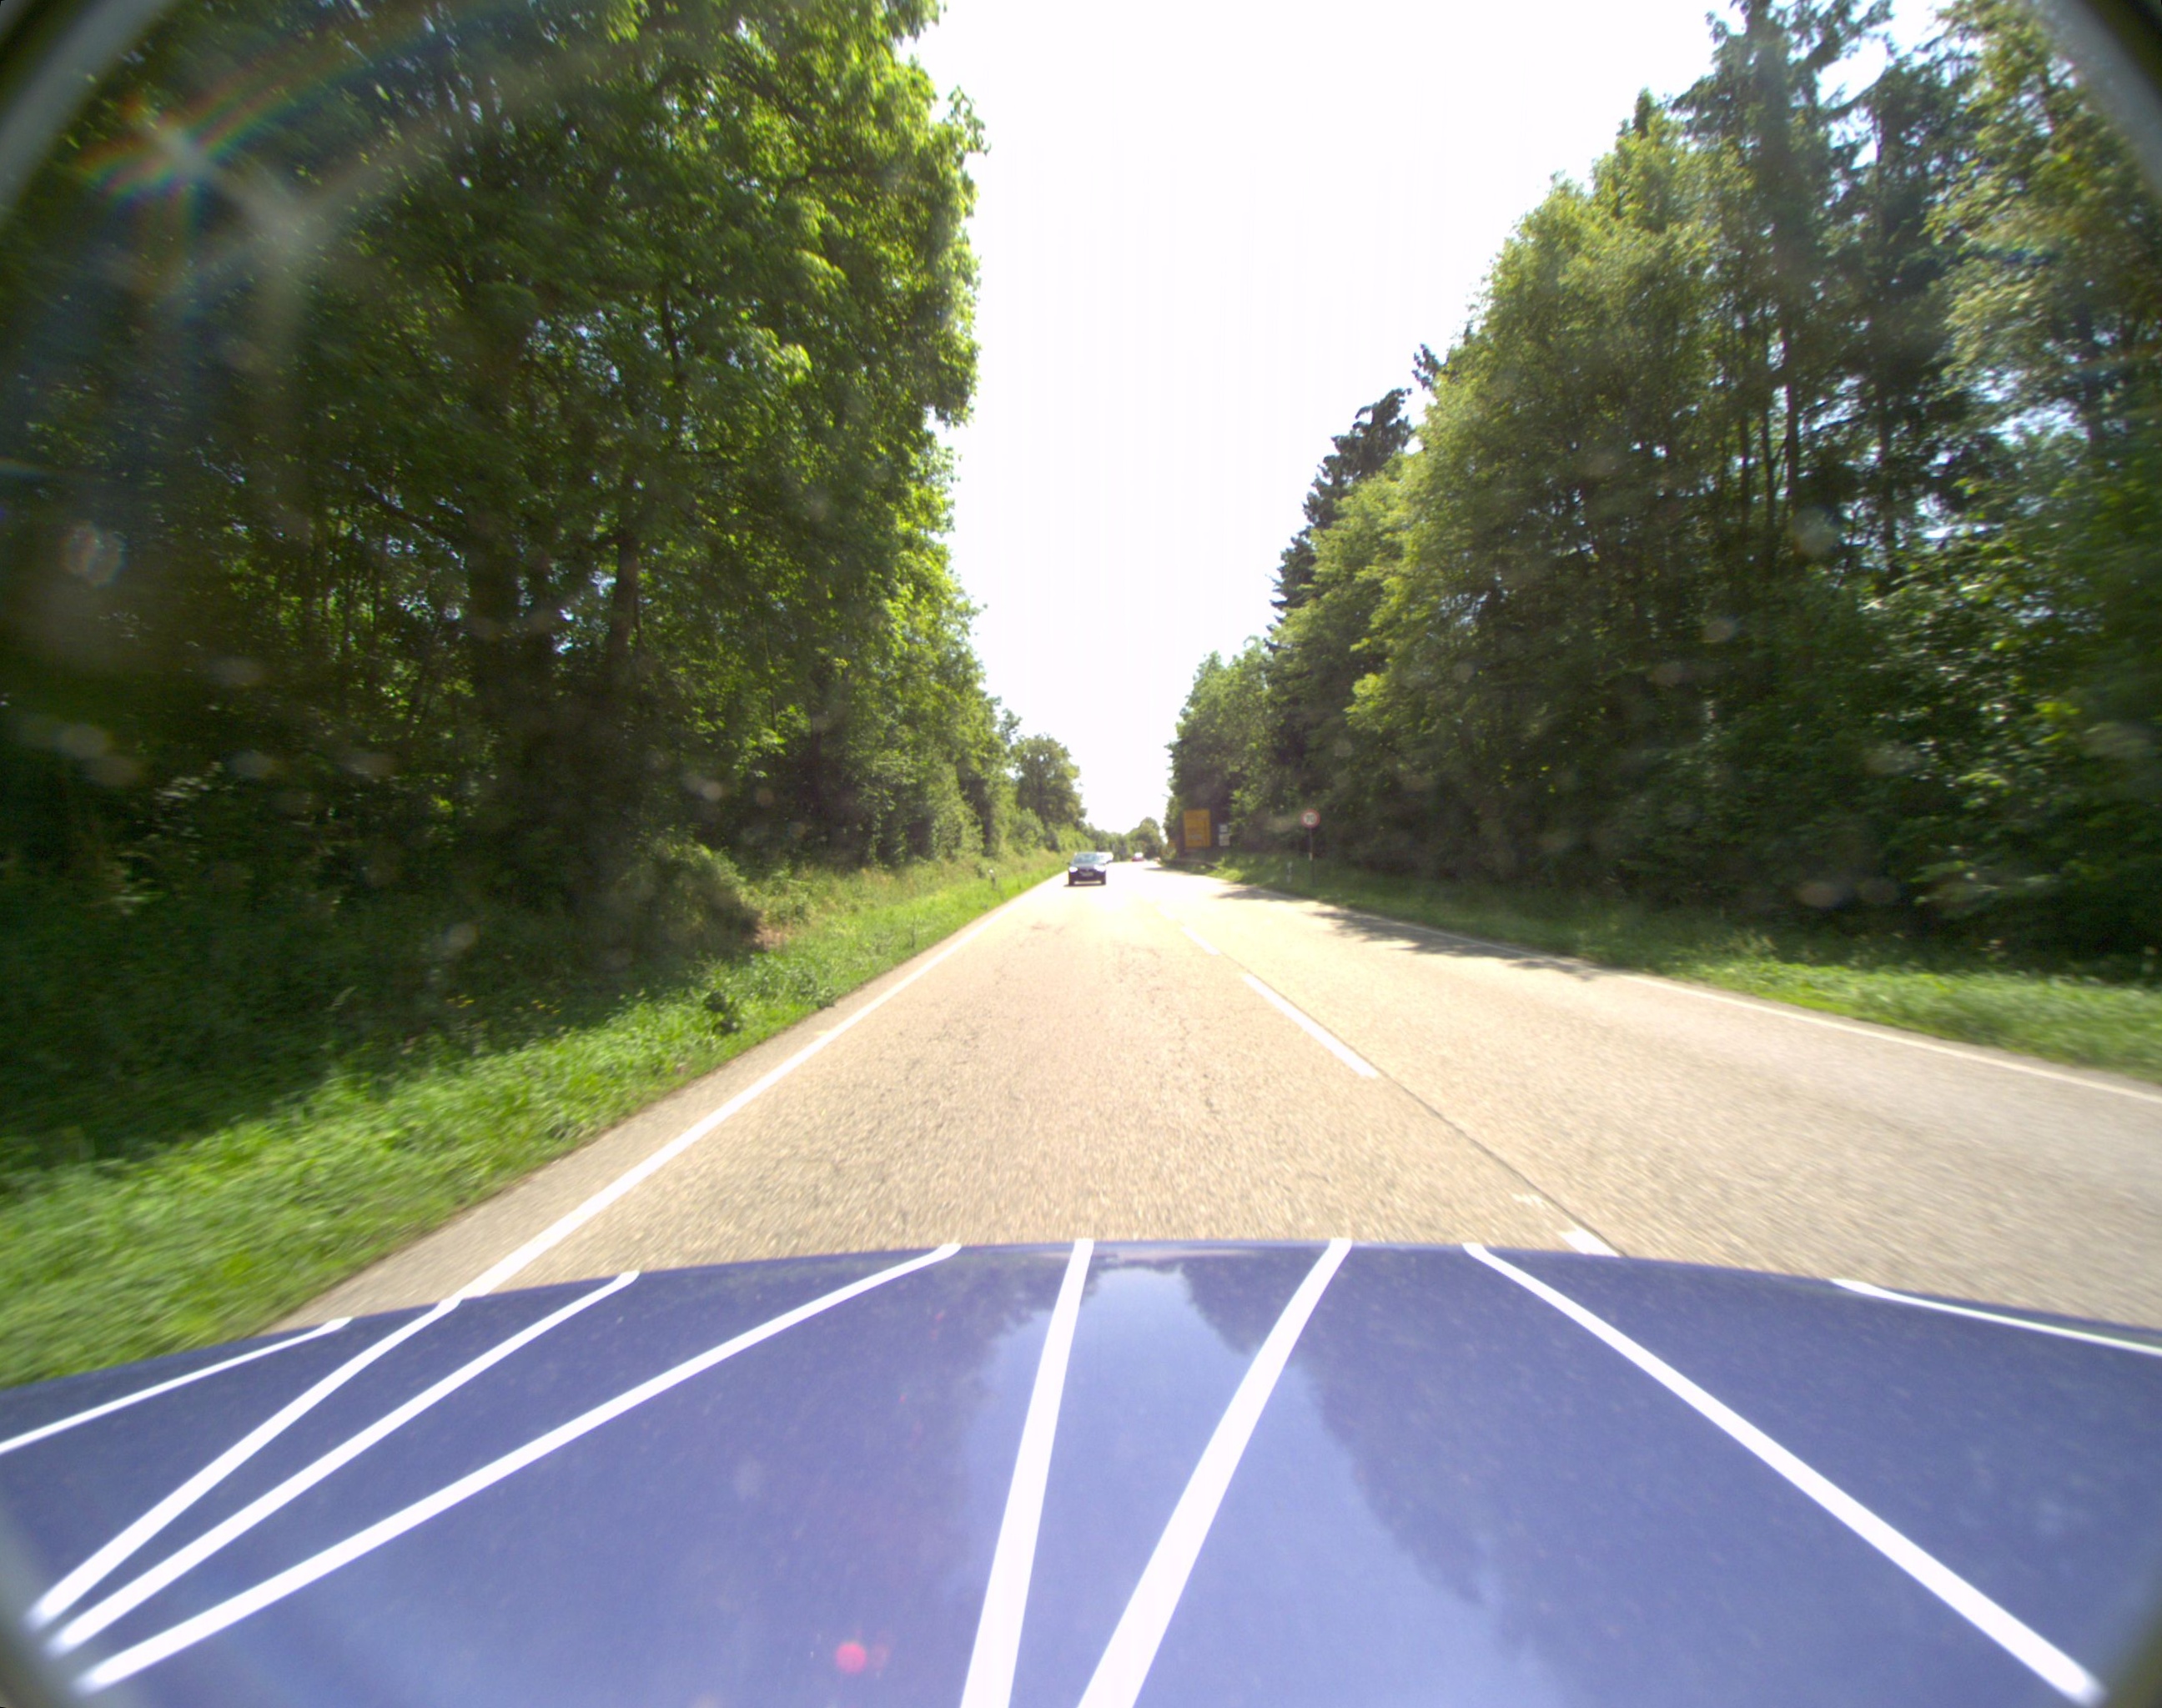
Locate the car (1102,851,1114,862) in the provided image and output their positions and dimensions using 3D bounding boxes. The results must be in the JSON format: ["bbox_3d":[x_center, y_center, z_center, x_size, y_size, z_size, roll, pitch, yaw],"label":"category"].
[{"bbox_3d":[5.017,0.468,140.374,1.998,2.001,4.002,-4,-1,4],"label":"car"}]

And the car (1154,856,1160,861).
[{"bbox_3d":[22.491,1.218,225.337,1.810,1.427,3.873,-1,0,5],"label":"car"}]

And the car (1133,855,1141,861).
[{"bbox_3d":[14.159,0.911,192.712,1.808,1.444,4.389,-2,-1,7],"label":"car"}]

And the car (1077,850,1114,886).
[{"bbox_3d":[0.667,0.632,35.816,1.627,1.535,4.000,-2,0,1],"label":"car"}]

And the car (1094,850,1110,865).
[{"bbox_3d":[2.523,0.451,91.626,1.770,1.673,4.001,-4,-1,1],"label":"car"}]
